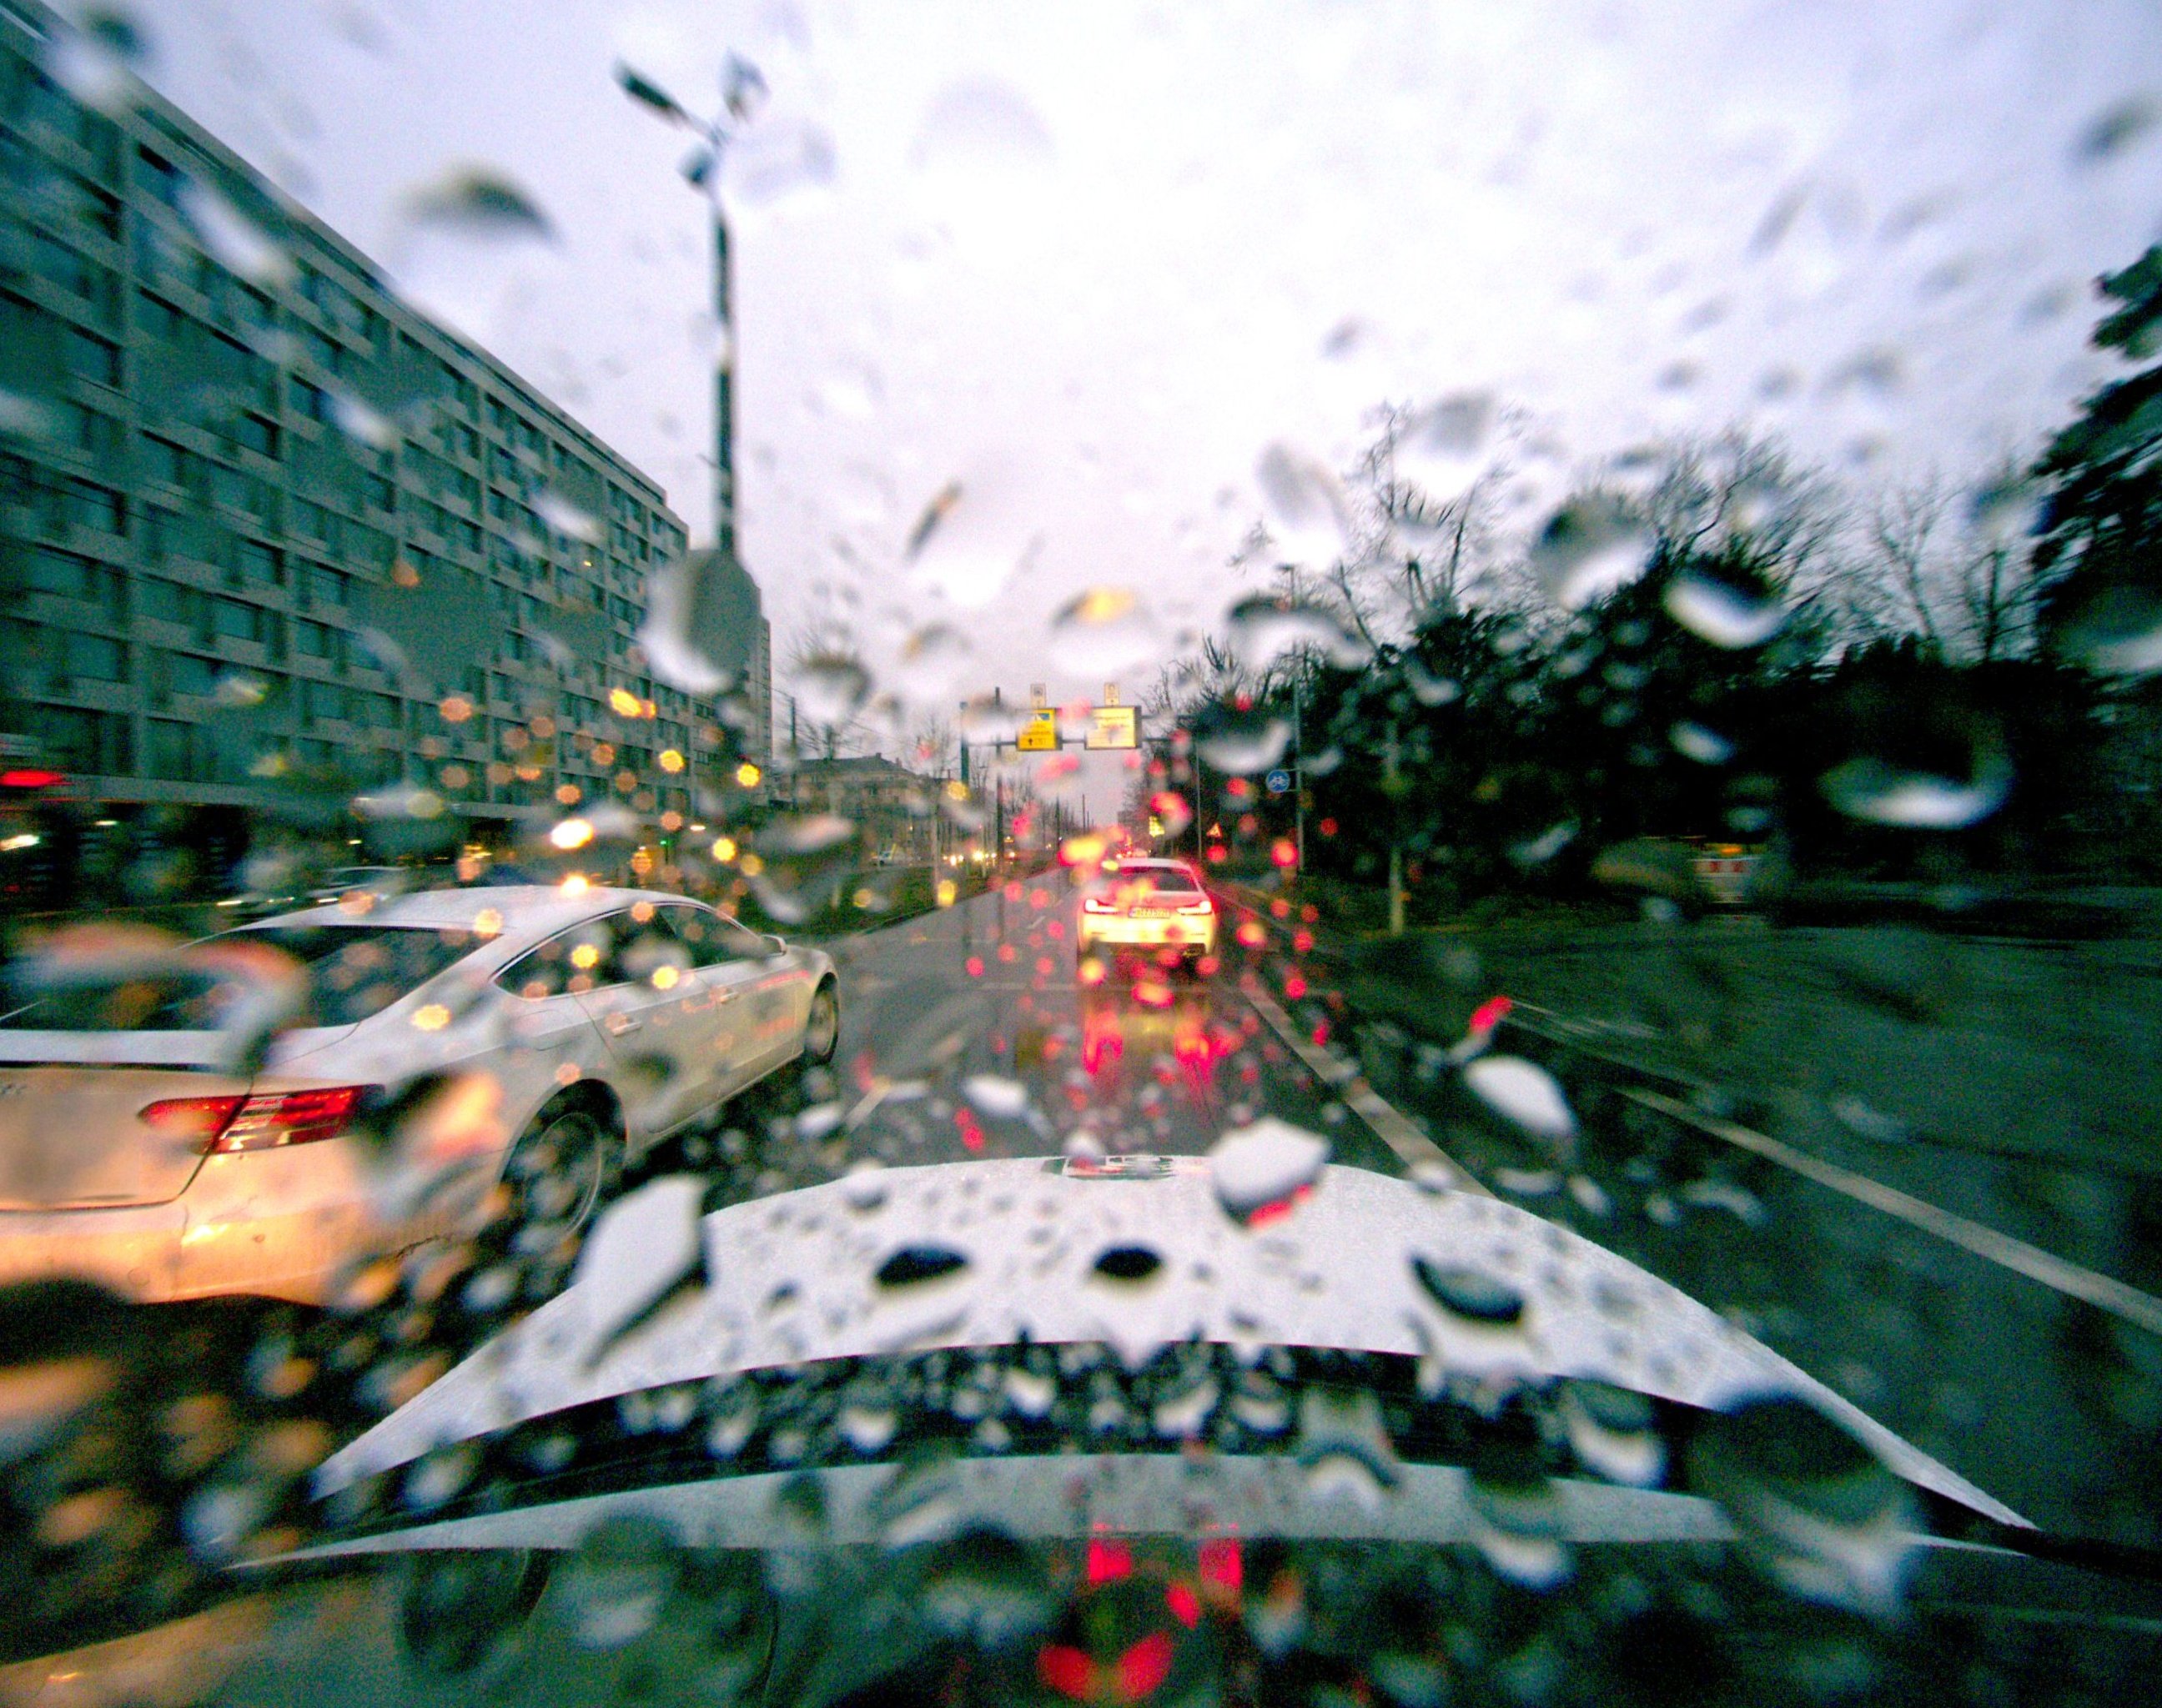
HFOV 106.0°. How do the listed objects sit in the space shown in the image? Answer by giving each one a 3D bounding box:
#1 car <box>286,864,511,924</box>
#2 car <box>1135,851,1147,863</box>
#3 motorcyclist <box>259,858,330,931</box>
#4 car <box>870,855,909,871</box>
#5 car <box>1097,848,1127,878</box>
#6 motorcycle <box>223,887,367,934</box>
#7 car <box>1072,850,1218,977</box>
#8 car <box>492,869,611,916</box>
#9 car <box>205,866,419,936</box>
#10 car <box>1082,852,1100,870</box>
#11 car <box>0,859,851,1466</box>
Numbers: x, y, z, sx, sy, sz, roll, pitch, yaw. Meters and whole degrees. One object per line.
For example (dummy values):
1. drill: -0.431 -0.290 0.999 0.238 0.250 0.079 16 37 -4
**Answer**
1. car: -19.183 1.044 23.310 1.986 1.462 5.098 0 0 2
2. car: 10.202 0.525 138.339 1.986 2.013 4.002 0 0 2
3. motorcyclist: -20.895 1.046 21.650 0.867 1.885 1.034 0 0 2
4. car: -26.827 1.214 114.010 4.909 2.013 1.977 -1 1 -39
5. car: 2.165 0.617 56.600 1.986 2.013 4.002 0 0 2
6. motorcycle: -20.880 1.471 21.765 0.867 1.056 2.968 0 0 2
7. car: 0.761 0.716 12.066 1.755 1.552 4.249 0 0 -1
8. car: -19.422 1.351 30.194 1.995 1.462 5.074 0 0 -12
9. car: -22.537 1.306 24.181 1.874 1.789 4.601 0 0 2
10. car: 1.157 0.779 96.108 1.986 2.013 4.002 0 0 2
11. car: -2.715 0.782 4.165 1.753 1.469 4.253 0 0 1
